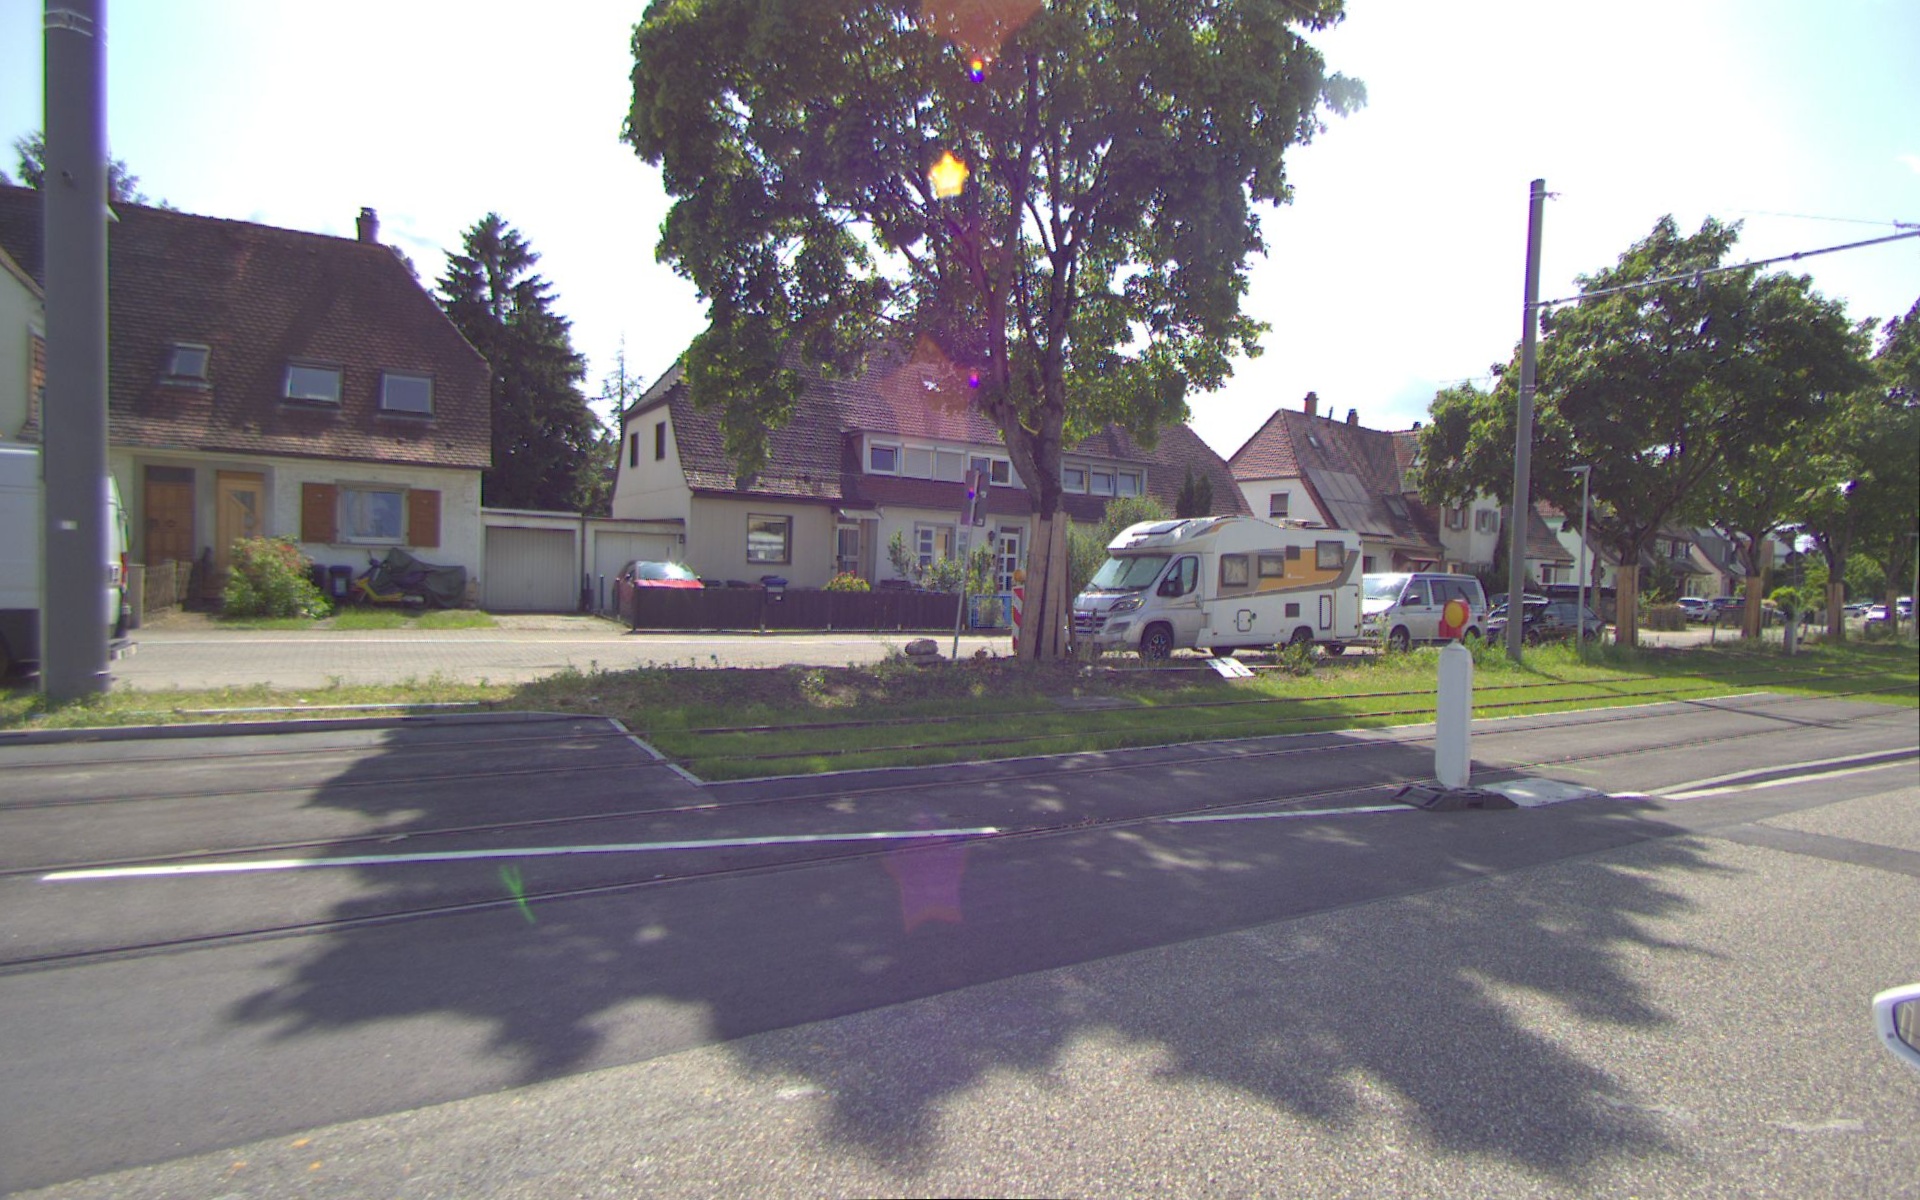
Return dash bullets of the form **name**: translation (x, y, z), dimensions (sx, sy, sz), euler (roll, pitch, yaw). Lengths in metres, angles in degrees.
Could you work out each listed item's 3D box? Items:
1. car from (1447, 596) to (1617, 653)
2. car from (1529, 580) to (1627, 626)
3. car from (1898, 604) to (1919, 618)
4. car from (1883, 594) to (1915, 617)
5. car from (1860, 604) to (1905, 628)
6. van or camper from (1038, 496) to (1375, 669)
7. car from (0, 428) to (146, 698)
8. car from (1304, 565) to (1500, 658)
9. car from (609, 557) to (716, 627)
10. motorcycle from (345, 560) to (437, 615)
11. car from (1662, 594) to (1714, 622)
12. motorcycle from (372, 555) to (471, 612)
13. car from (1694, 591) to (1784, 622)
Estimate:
- **car**: translation (15.699, 0.655, 27.514), dimensions (4.750, 1.406, 1.844), euler (1, 2, -29)
- **car**: translation (29.755, 0.126, 48.442), dimensions (3.829, 1.922, 1.938), euler (5, 3, 33)
- **car**: translation (109.849, 1.264, 116.283), dimensions (1.709, 1.525, 4.543), euler (1, 1, 42)
- **car**: translation (115.925, 0.629, 124.042), dimensions (2.047, 2.758, 6.975), euler (1, 1, 37)
- **car**: translation (74.864, 1.294, 81.495), dimensions (5.039, 1.792, 1.866), euler (1, 2, -39)
- **van or camper**: translation (5.191, -0.287, 20.499), dimensions (7.219, 3.010, 2.361), euler (1, 2, -34)
- **car**: translation (-11.544, -0.436, 10.141), dimensions (4.858, 2.704, 2.142), euler (1, 2, -31)
- **car**: translation (10.776, 0.253, 24.364), dimensions (4.851, 2.041, 1.981), euler (1, 2, -33)
- **car**: translation (-7.344, -0.234, 24.566), dimensions (1.652, 1.542, 3.598), euler (1, 2, -31)
- **motorcycle**: translation (-12.825, -0.279, 22.652), dimensions (1.774, 1.185, 0.493), euler (1, 2, -33)
- **car**: translation (43.018, 0.459, 59.305), dimensions (4.015, 1.538, 1.712), euler (0, 2, -43)
- **motorcycle**: translation (-12.670, -0.365, 23.677), dimensions (1.987, 1.289, 0.570), euler (1, 2, -44)
- **car**: translation (51.600, 0.395, 66.604), dimensions (2.051, 1.861, 4.426), euler (0, 2, -43)
